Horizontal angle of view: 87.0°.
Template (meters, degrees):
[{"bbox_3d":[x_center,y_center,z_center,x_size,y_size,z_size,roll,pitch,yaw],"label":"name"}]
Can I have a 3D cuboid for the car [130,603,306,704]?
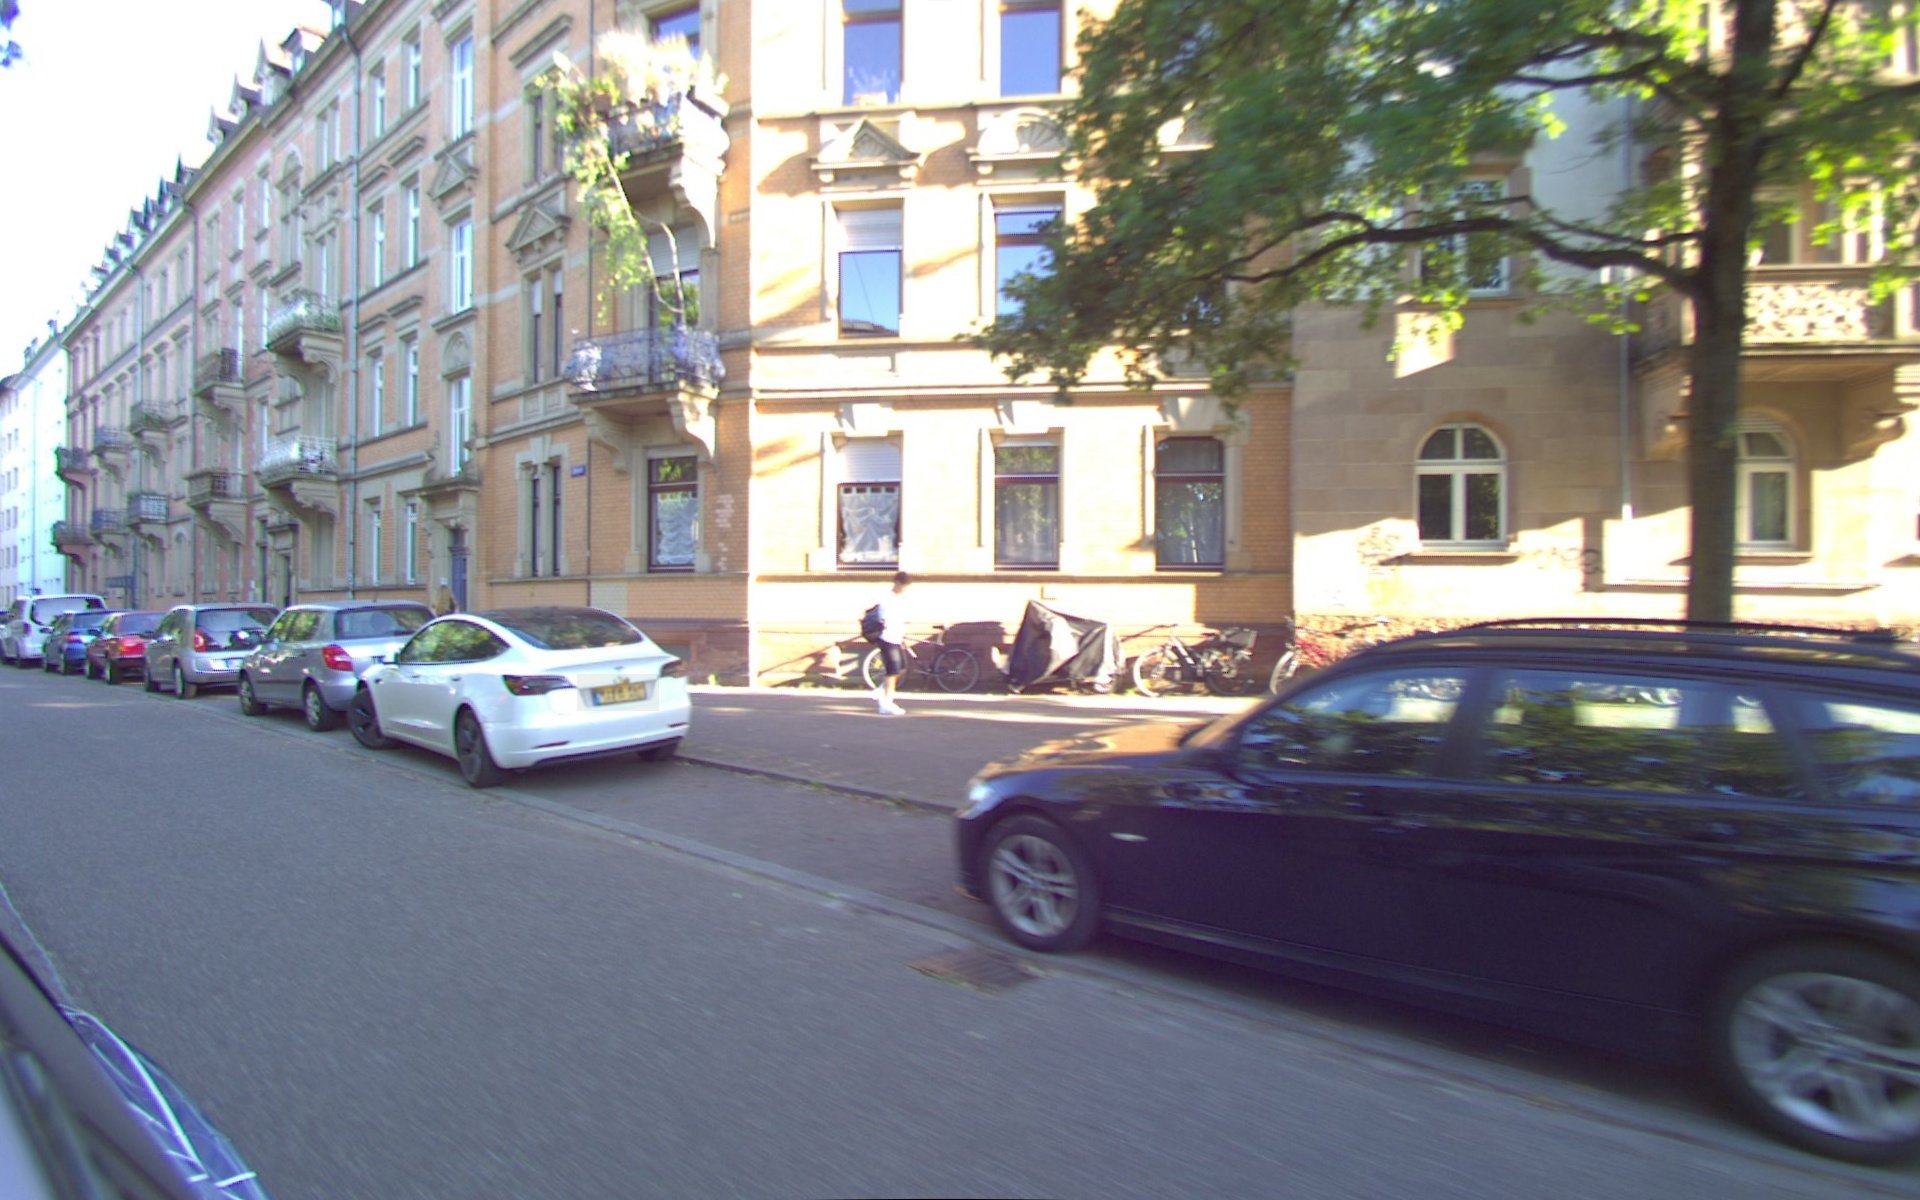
[{"bbox_3d":[-12.550,0.827,17.045,3.708,1.486,1.666,-1,0,42],"label":"car"}]

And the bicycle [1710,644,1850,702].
[{"bbox_3d":[10.979,0.970,13.578,1.491,0.738,0.368,0,-1,6],"label":"bicycle"}]

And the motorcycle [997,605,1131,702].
[{"bbox_3d":[1.496,0.772,14.719,1.875,1.363,0.808,-1,-2,6],"label":"motorcycle"}]

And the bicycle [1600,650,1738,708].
[{"bbox_3d":[9.353,1.035,13.370,1.491,0.738,0.368,0,-1,6],"label":"bicycle"}]

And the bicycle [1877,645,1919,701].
[{"bbox_3d":[13.237,0.981,13.544,1.491,0.738,0.368,0,-1,6],"label":"bicycle"}]

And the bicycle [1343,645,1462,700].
[{"bbox_3d":[6.225,1.011,14.267,1.491,0.738,0.368,0,-1,6],"label":"bicycle"}]

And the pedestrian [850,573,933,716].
[{"bbox_3d":[-0.841,0.542,12.619,0.901,1.731,0.674,-1,1,8],"label":"pedestrian"}]

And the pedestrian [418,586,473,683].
[{"bbox_3d":[-9.419,0.612,18.528,0.722,1.731,0.666,-1,0,42],"label":"pedestrian"}]

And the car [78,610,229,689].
[{"bbox_3d":[-16.449,0.941,20.562,4.289,1.394,1.744,-1,0,43],"label":"car"}]

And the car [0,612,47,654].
[{"bbox_3d":[-35.609,1.213,37.691,4.391,1.452,1.856,-1,0,41],"label":"car"}]

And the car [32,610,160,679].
[{"bbox_3d":[-20.349,0.986,23.782,3.886,1.449,1.745,-1,0,41],"label":"car"}]

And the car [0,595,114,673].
[{"bbox_3d":[-24.639,0.876,27.432,4.723,1.897,1.887,-1,0,41],"label":"car"}]

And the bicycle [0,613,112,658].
[{"bbox_3d":[-31.282,1.226,34.922,0.817,1.496,3.003,-1,-2,42],"label":"bicycle"}]

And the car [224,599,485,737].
[{"bbox_3d":[-7.847,0.772,12.989,3.878,1.486,1.667,-1,0,40],"label":"car"}]

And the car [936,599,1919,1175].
[{"bbox_3d":[2.099,0.750,4.013,4.266,1.444,1.759,-1,0,39],"label":"car"}]

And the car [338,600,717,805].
[{"bbox_3d":[-4.265,0.784,9.614,4.271,1.486,1.756,-1,0,44],"label":"car"}]

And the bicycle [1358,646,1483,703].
[{"bbox_3d":[6.285,1.008,13.849,1.491,0.738,0.414,0,-1,6],"label":"bicycle"}]

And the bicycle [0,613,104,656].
[{"bbox_3d":[-32.583,1.240,36.091,0.817,1.496,3.003,-1,-2,42],"label":"bicycle"}]

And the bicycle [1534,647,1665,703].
[{"bbox_3d":[8.722,1.018,13.828,1.491,0.738,0.368,0,-1,6],"label":"bicycle"}]

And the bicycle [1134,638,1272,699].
[{"bbox_3d":[3.501,0.991,14.670,1.875,0.854,0.524,-1,-2,6],"label":"bicycle"}]

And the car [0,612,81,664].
[{"bbox_3d":[-28.844,1.142,31.340,4.391,1.452,1.856,-1,0,41],"label":"car"}]

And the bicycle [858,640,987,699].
[{"bbox_3d":[-0.558,1.038,15.132,1.875,0.854,0.524,-1,-2,6],"label":"bicycle"}]
